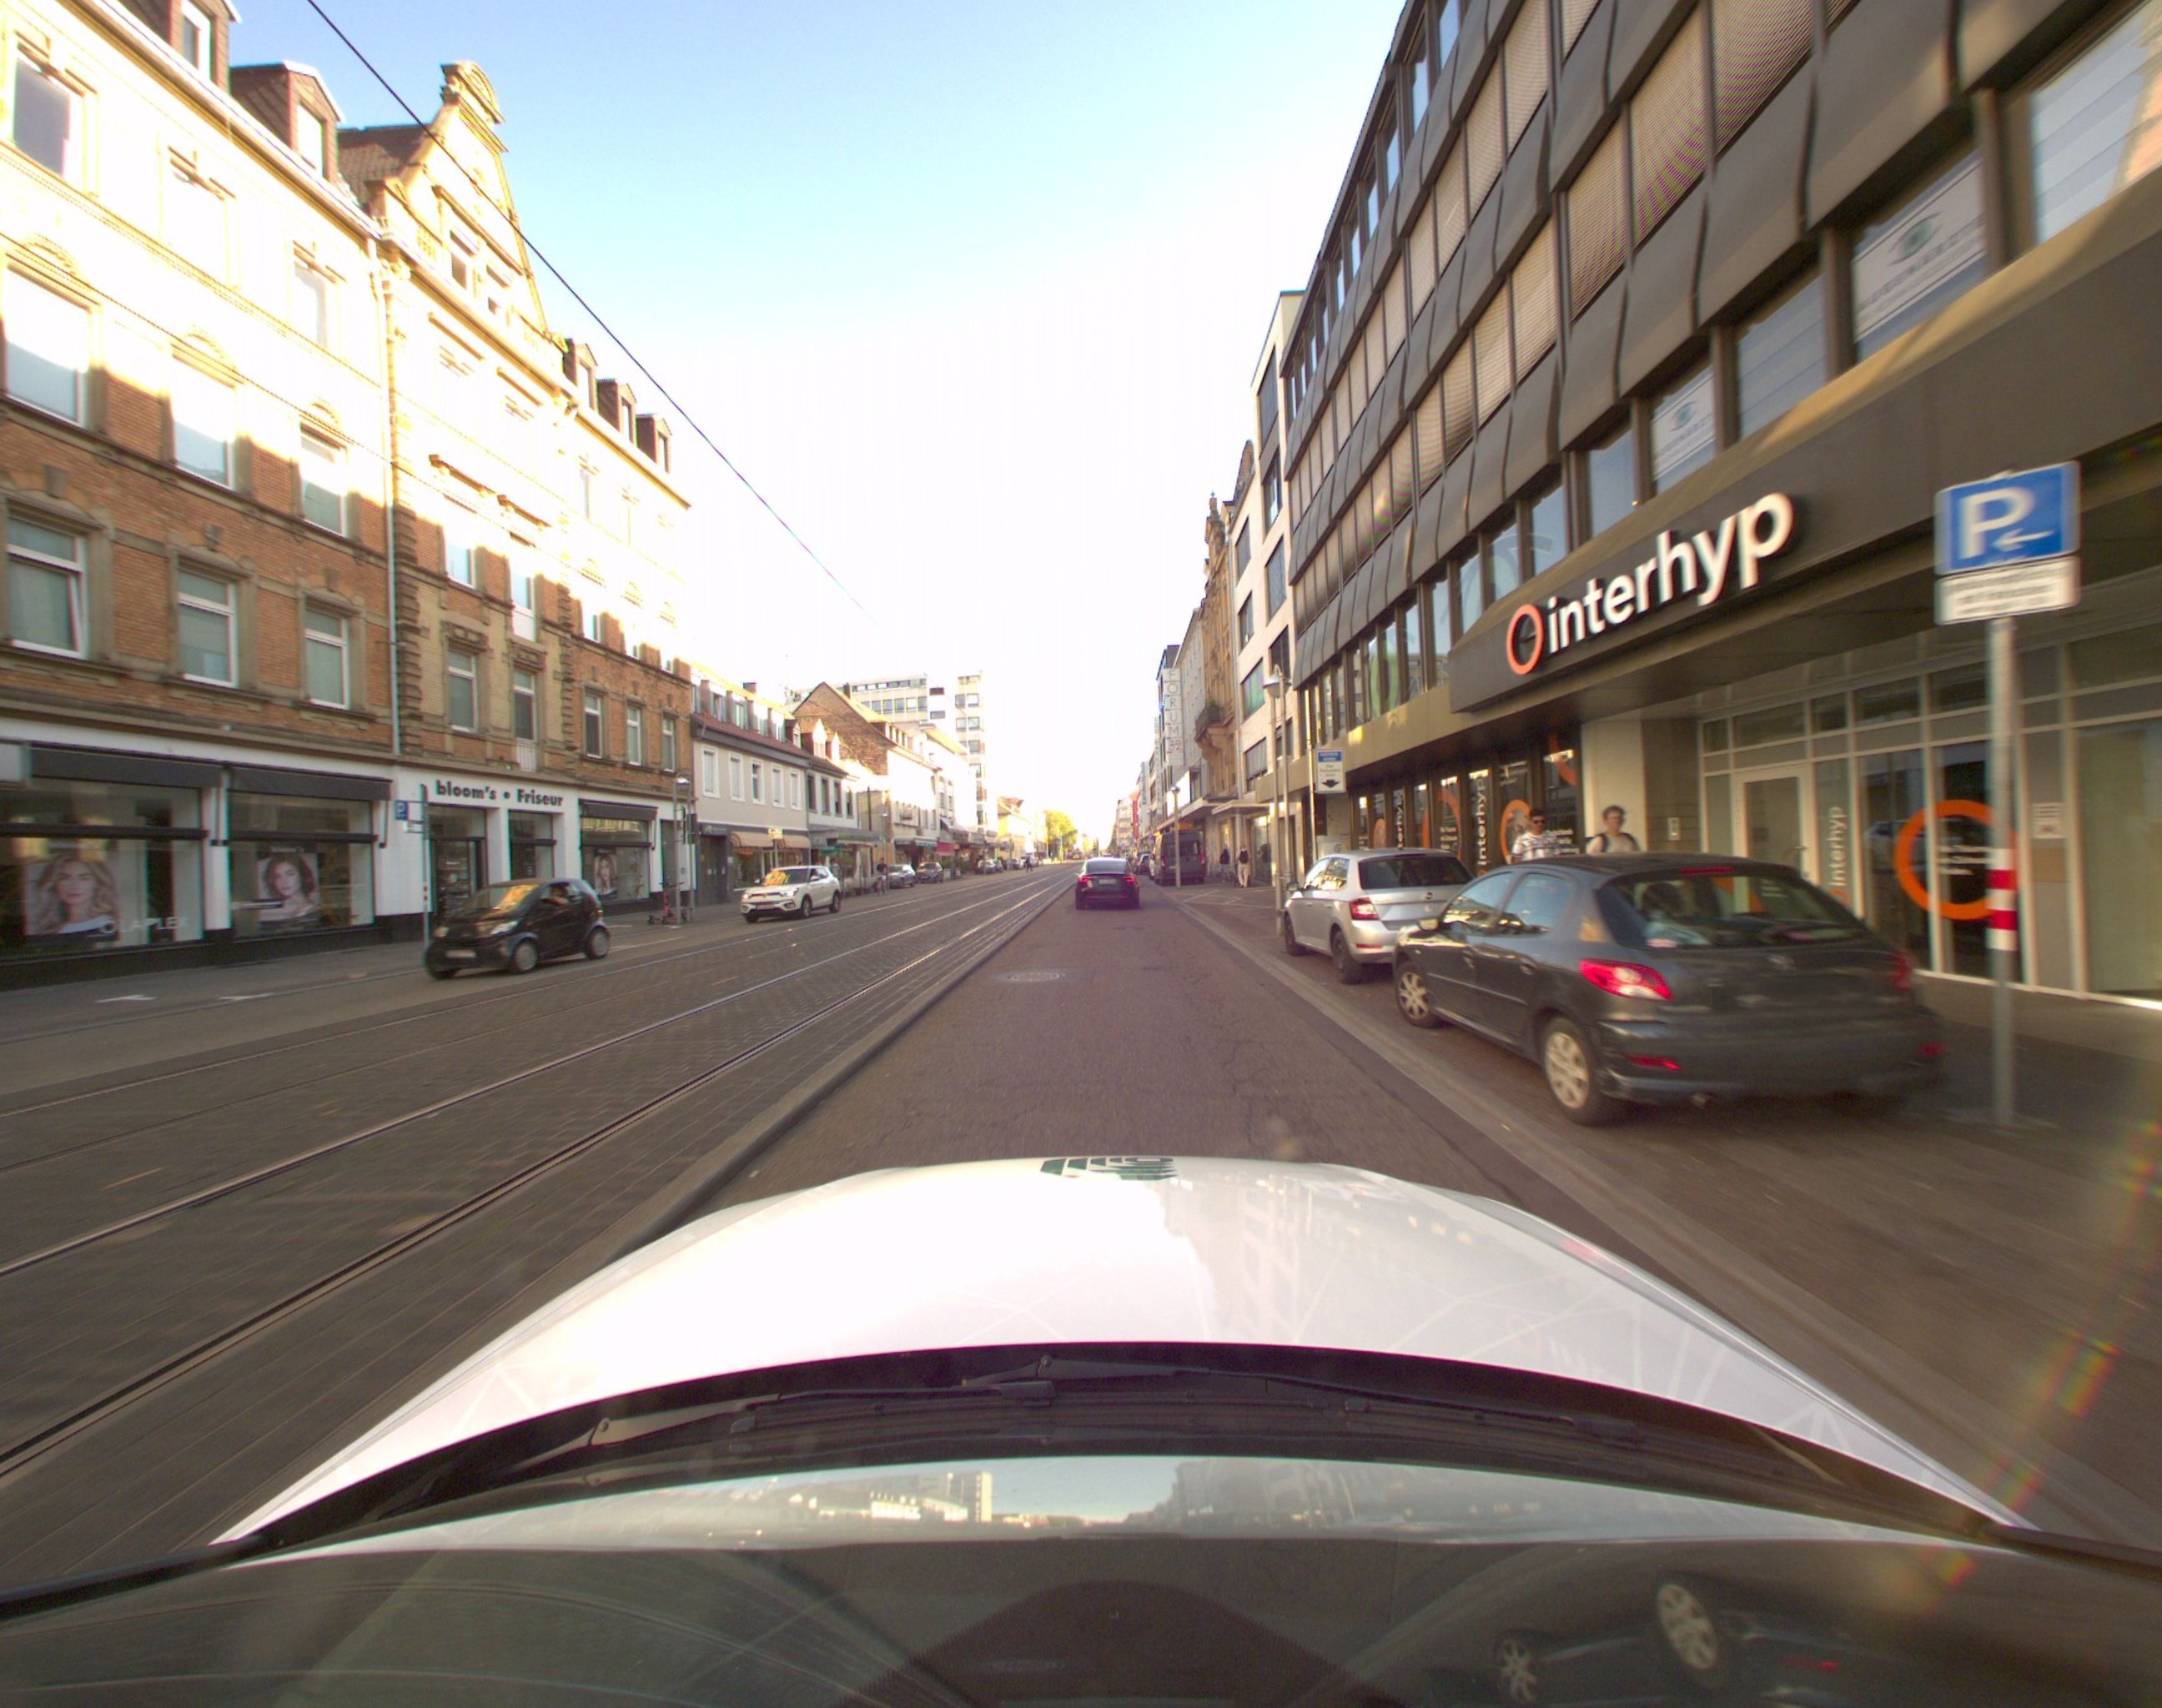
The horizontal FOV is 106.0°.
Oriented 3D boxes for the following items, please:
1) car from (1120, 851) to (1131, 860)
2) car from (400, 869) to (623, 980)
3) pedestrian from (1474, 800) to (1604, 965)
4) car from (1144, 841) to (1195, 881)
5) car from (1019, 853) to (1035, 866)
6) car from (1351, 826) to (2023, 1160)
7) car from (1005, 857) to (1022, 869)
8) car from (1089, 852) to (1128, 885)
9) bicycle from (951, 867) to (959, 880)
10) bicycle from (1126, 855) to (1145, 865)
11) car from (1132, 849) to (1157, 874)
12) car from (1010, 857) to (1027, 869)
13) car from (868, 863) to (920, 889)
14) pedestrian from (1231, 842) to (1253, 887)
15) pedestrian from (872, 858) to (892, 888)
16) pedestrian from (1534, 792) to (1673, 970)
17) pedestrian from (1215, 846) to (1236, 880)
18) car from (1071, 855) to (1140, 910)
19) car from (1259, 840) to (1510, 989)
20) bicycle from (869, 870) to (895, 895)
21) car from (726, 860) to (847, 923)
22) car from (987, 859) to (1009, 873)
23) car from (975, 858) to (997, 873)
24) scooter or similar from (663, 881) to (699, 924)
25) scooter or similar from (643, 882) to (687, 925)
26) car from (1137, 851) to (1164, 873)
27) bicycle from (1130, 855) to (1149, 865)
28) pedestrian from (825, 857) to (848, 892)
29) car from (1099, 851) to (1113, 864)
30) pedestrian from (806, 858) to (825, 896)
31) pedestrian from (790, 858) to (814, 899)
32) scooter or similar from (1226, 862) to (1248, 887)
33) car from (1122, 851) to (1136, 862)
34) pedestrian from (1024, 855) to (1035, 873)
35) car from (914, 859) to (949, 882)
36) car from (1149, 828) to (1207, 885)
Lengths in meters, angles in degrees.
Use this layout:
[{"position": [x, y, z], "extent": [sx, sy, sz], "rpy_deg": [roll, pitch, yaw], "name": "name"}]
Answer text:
[{"position": [8.488, 0.309, 155.572], "extent": [1.986, 1.753, 4.002], "rpy_deg": [-2, -1, 2], "name": "car"}, {"position": [-9.445, 1.103, 13.785], "extent": [1.642, 1.566, 2.831], "rpy_deg": [-3, 0, 2], "name": "car"}, {"position": [5.531, 0.325, 9.914], "extent": [0.919, 1.842, 1.000], "rpy_deg": [-4, 0, 2], "name": "pedestrian"}, {"position": [4.938, 0.367, 46.194], "extent": [2.152, 1.926, 4.615], "rpy_deg": [-6, 0, -1], "name": "car"}, {"position": [-8.668, 0.901, 131.193], "extent": [2.001, 1.961, 4.726], "rpy_deg": [-3, 0, 2], "name": "car"}, {"position": [3.516, 0.654, 5.946], "extent": [1.840, 1.462, 4.306], "rpy_deg": [-3, 0, 4], "name": "car"}, {"position": [-9.264, 1.238, 111.966], "extent": [1.710, 1.571, 3.853], "rpy_deg": [-3, 0, 4], "name": "car"}, {"position": [1.339, 0.683, 39.686], "extent": [1.755, 1.418, 4.356], "rpy_deg": [-2, -1, 2], "name": "car"}, {"position": [-10.410, 1.588, 67.265], "extent": [0.369, 1.002, 1.596], "rpy_deg": [-3, 0, -16], "name": "bicycle"}, {"position": [6.553, 0.742, 98.257], "extent": [2.153, 1.097, 0.686], "rpy_deg": [-3, 0, -1], "name": "bicycle"}, {"position": [5.132, 0.576, 66.195], "extent": [1.814, 1.870, 3.756], "rpy_deg": [-2, 0, 2], "name": "car"}, {"position": [-9.040, 1.277, 117.811], "extent": [1.762, 1.508, 3.976], "rpy_deg": [-3, 0, 4], "name": "car"}, {"position": [-11.558, 1.346, 50.607], "extent": [1.986, 1.532, 4.757], "rpy_deg": [-1, -1, 1], "name": "car"}, {"position": [6.392, 0.409, 32.360], "extent": [0.554, 1.714, 0.955], "rpy_deg": [-4, 0, 1], "name": "pedestrian"}, {"position": [-9.864, 0.925, 40.399], "extent": [0.621, 1.444, 0.876], "rpy_deg": [-2, -1, 6], "name": "pedestrian"}, {"position": [5.509, 0.268, 8.656], "extent": [0.776, 1.752, 1.033], "rpy_deg": [-3, 0, 3], "name": "pedestrian"}, {"position": [6.846, 0.432, 38.660], "extent": [0.766, 1.543, 0.804], "rpy_deg": [-4, 0, 1], "name": "pedestrian"}, {"position": [0.763, 0.786, 24.683], "extent": [1.862, 1.427, 4.367], "rpy_deg": [-2, 0, 2], "name": "car"}, {"position": [3.639, 0.633, 10.655], "extent": [1.738, 1.462, 4.298], "rpy_deg": [-3, 0, 2], "name": "car"}, {"position": [-9.860, 1.399, 40.390], "extent": [0.575, 1.115, 1.956], "rpy_deg": [-3, 0, 7], "name": "bicycle"}, {"position": [-8.858, 1.077, 24.943], "extent": [1.882, 1.594, 4.265], "rpy_deg": [-4, 0, 2], "name": "car"}, {"position": [-9.662, 1.354, 94.626], "extent": [1.761, 1.508, 3.866], "rpy_deg": [-3, 0, 5], "name": "car"}, {"position": [-10.285, 1.229, 88.377], "extent": [1.762, 1.508, 3.867], "rpy_deg": [-3, 0, 3], "name": "car"}, {"position": [-12.038, 1.447, 24.550], "extent": [0.363, 1.202, 1.476], "rpy_deg": [0, 0, -1], "name": "scooter or similar"}, {"position": [-12.524, 1.462, 24.556], "extent": [0.577, 1.202, 1.476], "rpy_deg": [-1, 0, -1], "name": "scooter or similar"}, {"position": [5.112, 0.579, 60.052], "extent": [1.744, 1.499, 3.756], "rpy_deg": [-3, 0, 2], "name": "car"}, {"position": [6.990, 0.706, 97.360], "extent": [2.153, 1.097, 0.686], "rpy_deg": [-3, 0, -1], "name": "bicycle"}, {"position": [-12.440, 1.038, 41.475], "extent": [0.883, 1.775, 0.688], "rpy_deg": [-2, 0, 0], "name": "pedestrian"}, {"position": [3.953, 0.514, 127.974], "extent": [2.077, 1.870, 3.756], "rpy_deg": [-2, 0, 2], "name": "car"}, {"position": [-13.243, 1.136, 40.625], "extent": [0.655, 1.823, 0.641], "rpy_deg": [-2, 0, -4], "name": "pedestrian"}, {"position": [-12.240, 1.077, 35.741], "extent": [0.609, 1.775, 0.721], "rpy_deg": [-2, 0, 15], "name": "pedestrian"}, {"position": [6.368, 0.840, 33.203], "extent": [0.591, 0.936, 1.298], "rpy_deg": [-4, 0, 0], "name": "scooter or similar"}, {"position": [7.518, 0.384, 127.076], "extent": [1.986, 1.543, 4.002], "rpy_deg": [-2, -1, 2], "name": "car"}, {"position": [-5.521, 1.032, 86.656], "extent": [0.764, 1.849, 0.833], "rpy_deg": [-3, 0, 32], "name": "pedestrian"}, {"position": [-11.073, 1.200, 60.409], "extent": [1.668, 1.546, 3.747], "rpy_deg": [-1, 0, 4], "name": "car"}, {"position": [4.633, 0.112, 39.709], "extent": [2.163, 2.461, 5.363], "rpy_deg": [-4, 0, 1], "name": "car"}]
